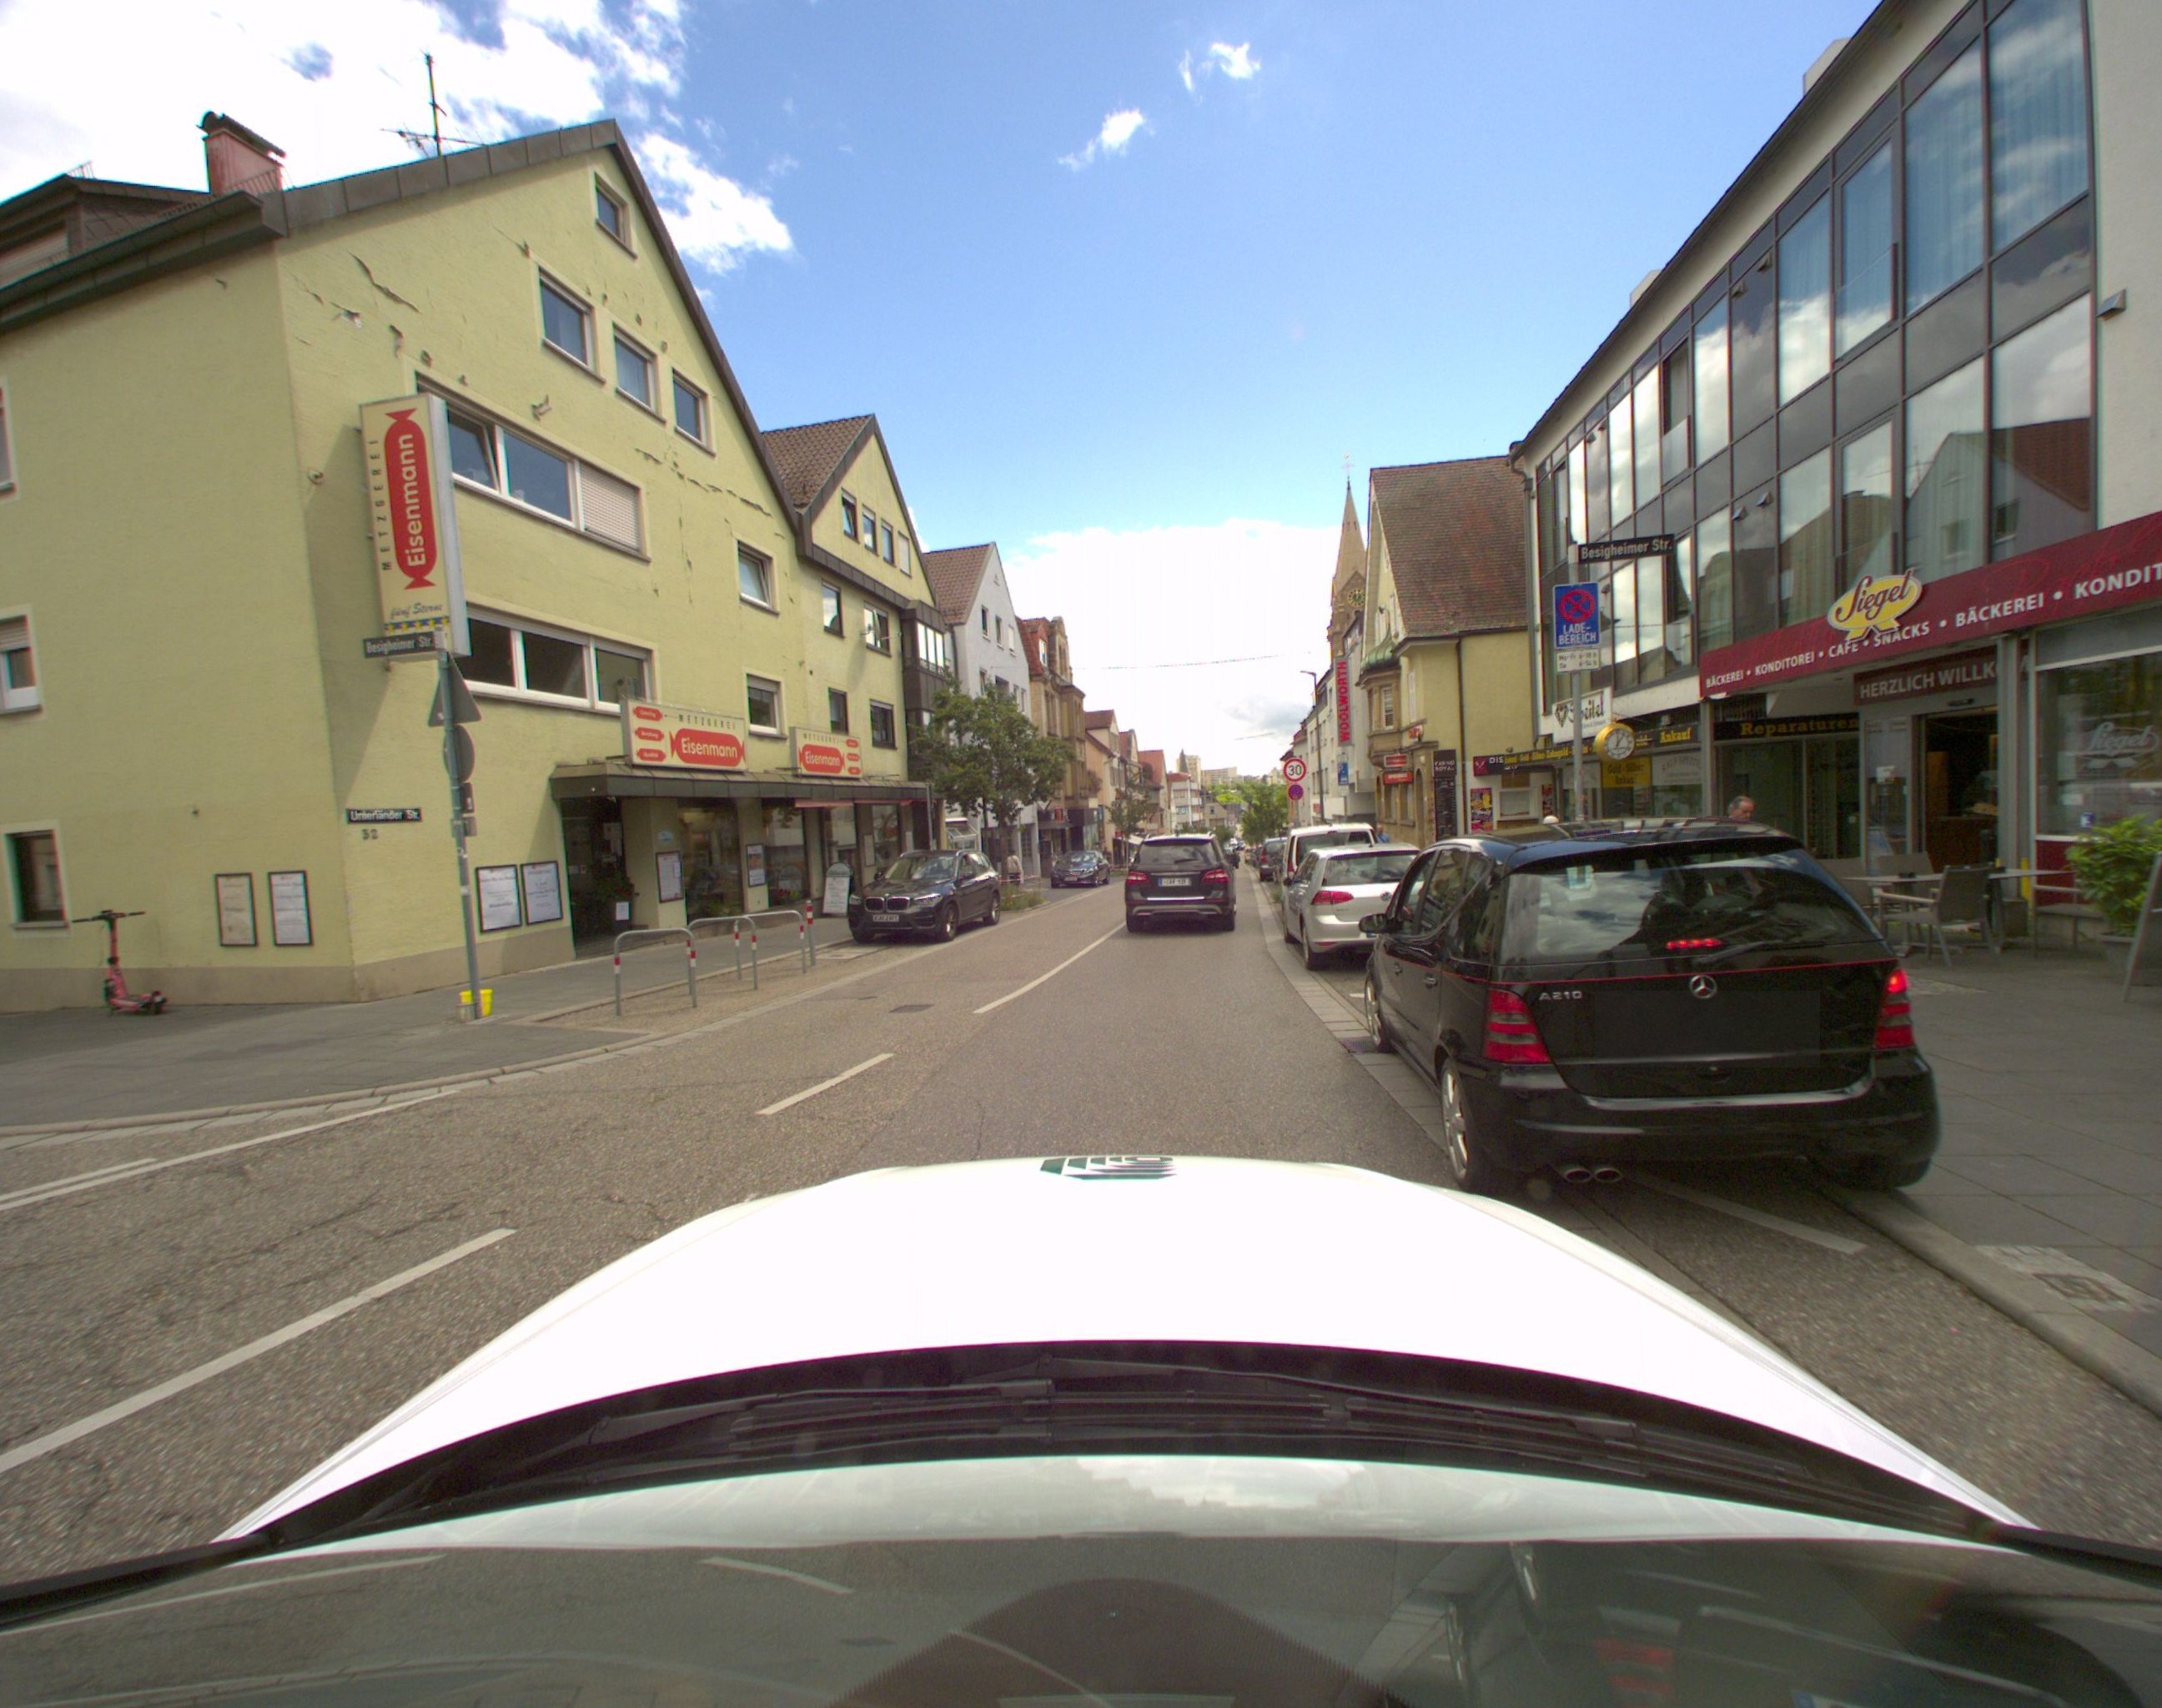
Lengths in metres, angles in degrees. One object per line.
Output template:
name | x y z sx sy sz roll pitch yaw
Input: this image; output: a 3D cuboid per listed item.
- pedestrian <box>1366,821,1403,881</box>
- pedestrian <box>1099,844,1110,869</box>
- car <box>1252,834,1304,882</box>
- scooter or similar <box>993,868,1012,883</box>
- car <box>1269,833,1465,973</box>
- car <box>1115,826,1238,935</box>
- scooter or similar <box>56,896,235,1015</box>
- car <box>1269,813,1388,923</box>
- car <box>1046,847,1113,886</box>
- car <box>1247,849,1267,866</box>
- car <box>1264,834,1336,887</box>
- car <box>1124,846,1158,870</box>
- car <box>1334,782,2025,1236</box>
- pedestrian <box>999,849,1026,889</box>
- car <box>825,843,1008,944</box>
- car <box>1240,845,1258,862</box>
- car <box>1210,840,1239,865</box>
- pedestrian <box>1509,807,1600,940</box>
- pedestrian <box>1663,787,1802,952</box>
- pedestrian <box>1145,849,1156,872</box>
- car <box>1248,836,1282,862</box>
pedestrian | 9.060 -0.095 24.374 0.791 1.727 1.056 -3 0 11
pedestrian | 1.379 0.146 48.200 0.486 1.463 0.562 0 0 20
car | 7.566 0.124 31.505 1.737 1.607 3.813 -4 0 12
scooter or similar | -2.824 0.764 29.387 0.521 0.519 0.574 0 0 10
car | 3.607 0.534 10.983 1.693 1.467 4.010 -3 0 8
car | 1.982 0.437 15.692 1.931 1.740 4.192 -3 0 11
scooter or similar | -11.322 1.227 9.875 1.581 1.280 0.592 -4 4 11
car | 4.779 0.222 16.125 1.863 1.799 4.751 -2 0 14
car | 0.034 0.452 33.616 1.915 1.492 4.856 0 1 10
car | 17.553 0.291 81.410 1.737 1.465 4.086 -6 -1 10
car | 7.077 0.186 26.687 1.738 1.508 3.884 -4 0 8
car | 4.182 0.246 56.017 1.915 1.511 4.274 -1 0 10
car | 2.704 0.551 4.897 1.791 1.555 3.966 -3 0 11
pedestrian | -2.525 0.545 30.100 0.821 1.463 0.812 0 0 10
car | -3.082 0.665 16.474 1.994 1.693 4.621 -1 1 10
car | 20.300 -0.053 98.565 1.926 1.891 4.720 -5 0 10
car | 9.550 -0.140 54.110 1.774 1.540 3.756 -2 0 11
pedestrian | 6.269 0.252 10.825 0.817 1.666 0.805 -3 0 17
pedestrian | 7.198 0.166 9.060 0.857 1.707 0.949 -3 0 17
pedestrian | 5.365 0.501 63.099 0.733 1.672 0.865 -2 0 8
car | 12.301 -0.312 54.641 1.739 1.498 3.806 -5 -2 6
